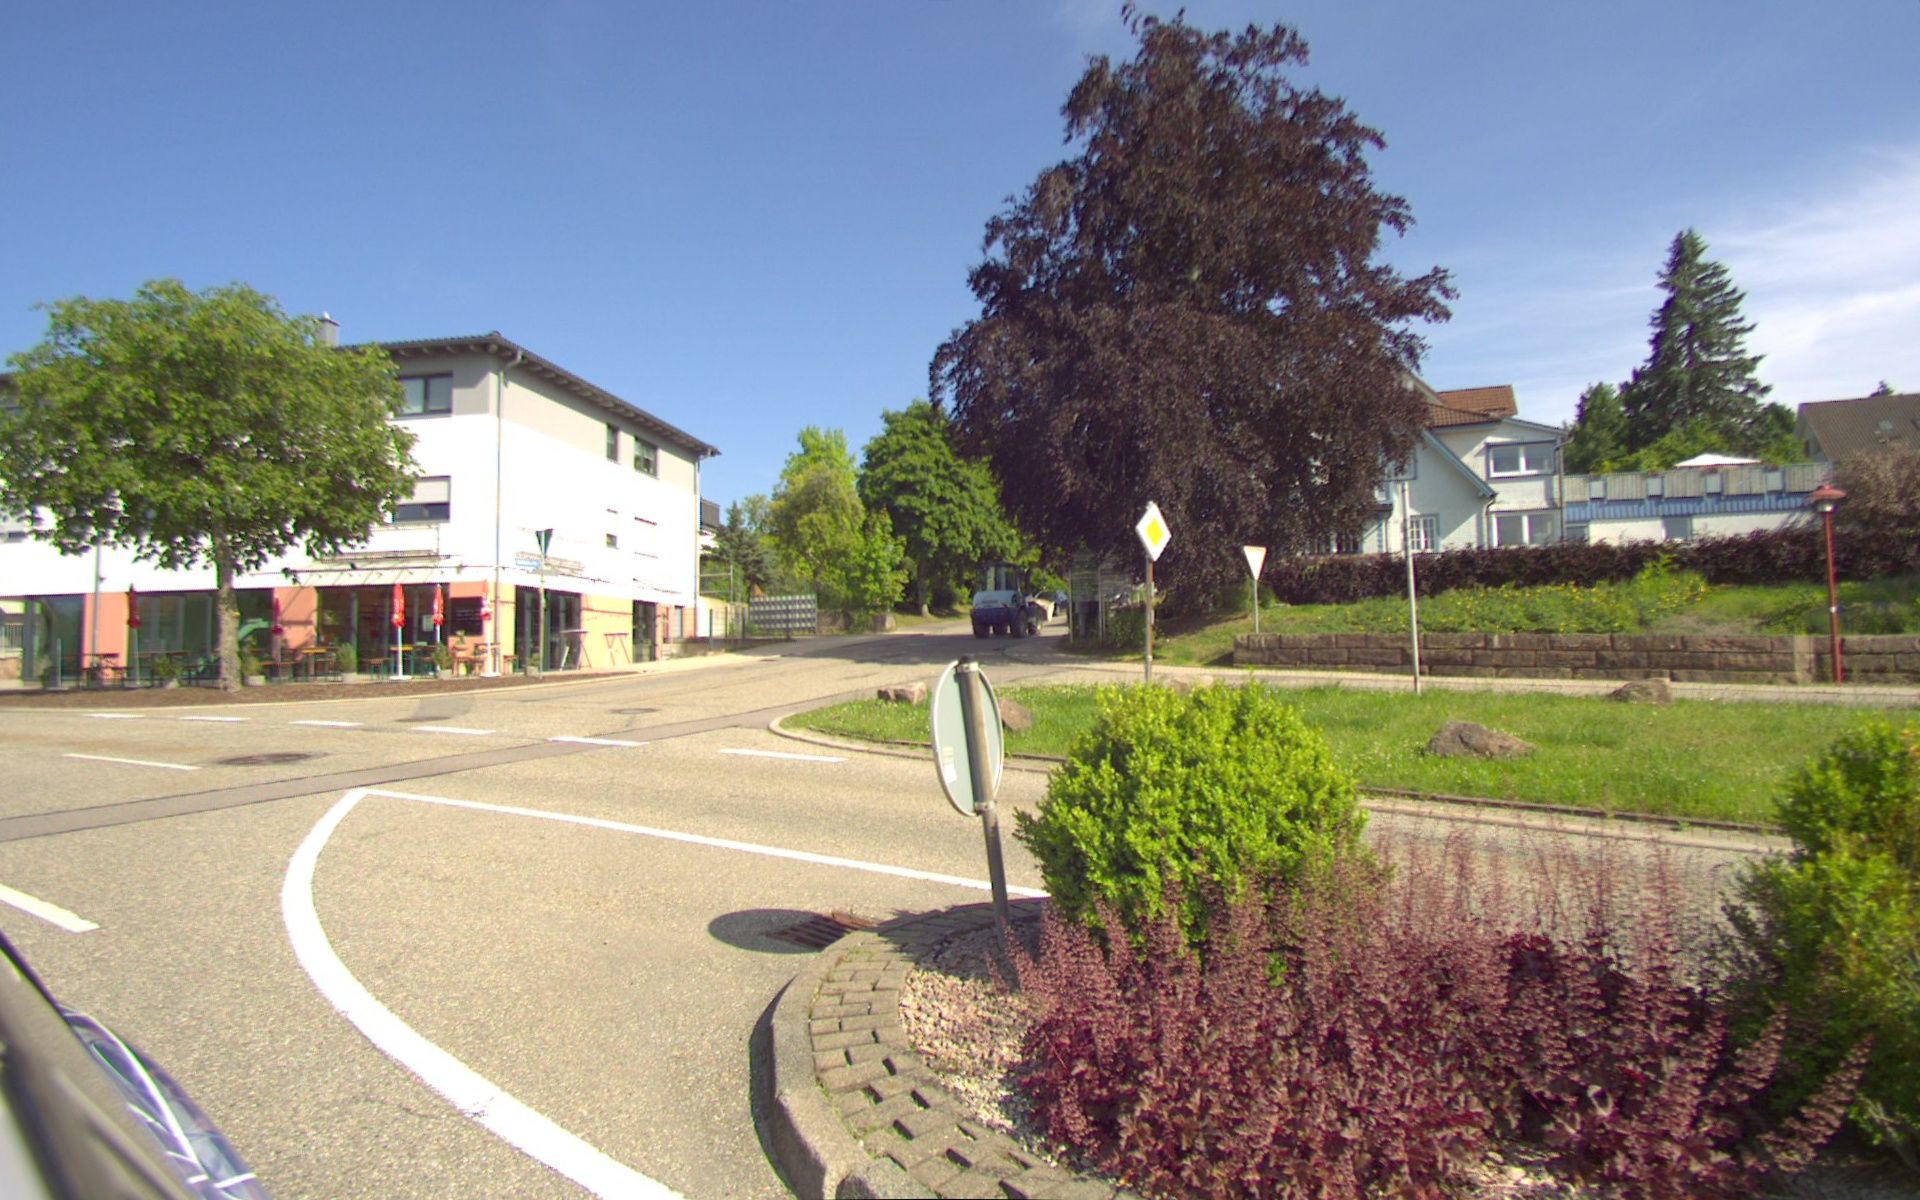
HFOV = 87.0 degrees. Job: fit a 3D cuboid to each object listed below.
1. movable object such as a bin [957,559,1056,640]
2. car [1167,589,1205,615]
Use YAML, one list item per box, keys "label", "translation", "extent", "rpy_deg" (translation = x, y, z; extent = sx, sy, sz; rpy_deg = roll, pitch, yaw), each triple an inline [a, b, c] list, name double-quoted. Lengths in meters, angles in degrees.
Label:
- label: "movable object such as a bin"
  translation: [1.827, -0.001, 37.626]
  extent: [1.988, 2.790, 5.064]
  rpy_deg: [-2, -1, 23]
- label: "car"
  translation: [14.872, 0.107, 66.517]
  extent: [1.796, 1.613, 3.783]
  rpy_deg: [-2, 1, 22]
